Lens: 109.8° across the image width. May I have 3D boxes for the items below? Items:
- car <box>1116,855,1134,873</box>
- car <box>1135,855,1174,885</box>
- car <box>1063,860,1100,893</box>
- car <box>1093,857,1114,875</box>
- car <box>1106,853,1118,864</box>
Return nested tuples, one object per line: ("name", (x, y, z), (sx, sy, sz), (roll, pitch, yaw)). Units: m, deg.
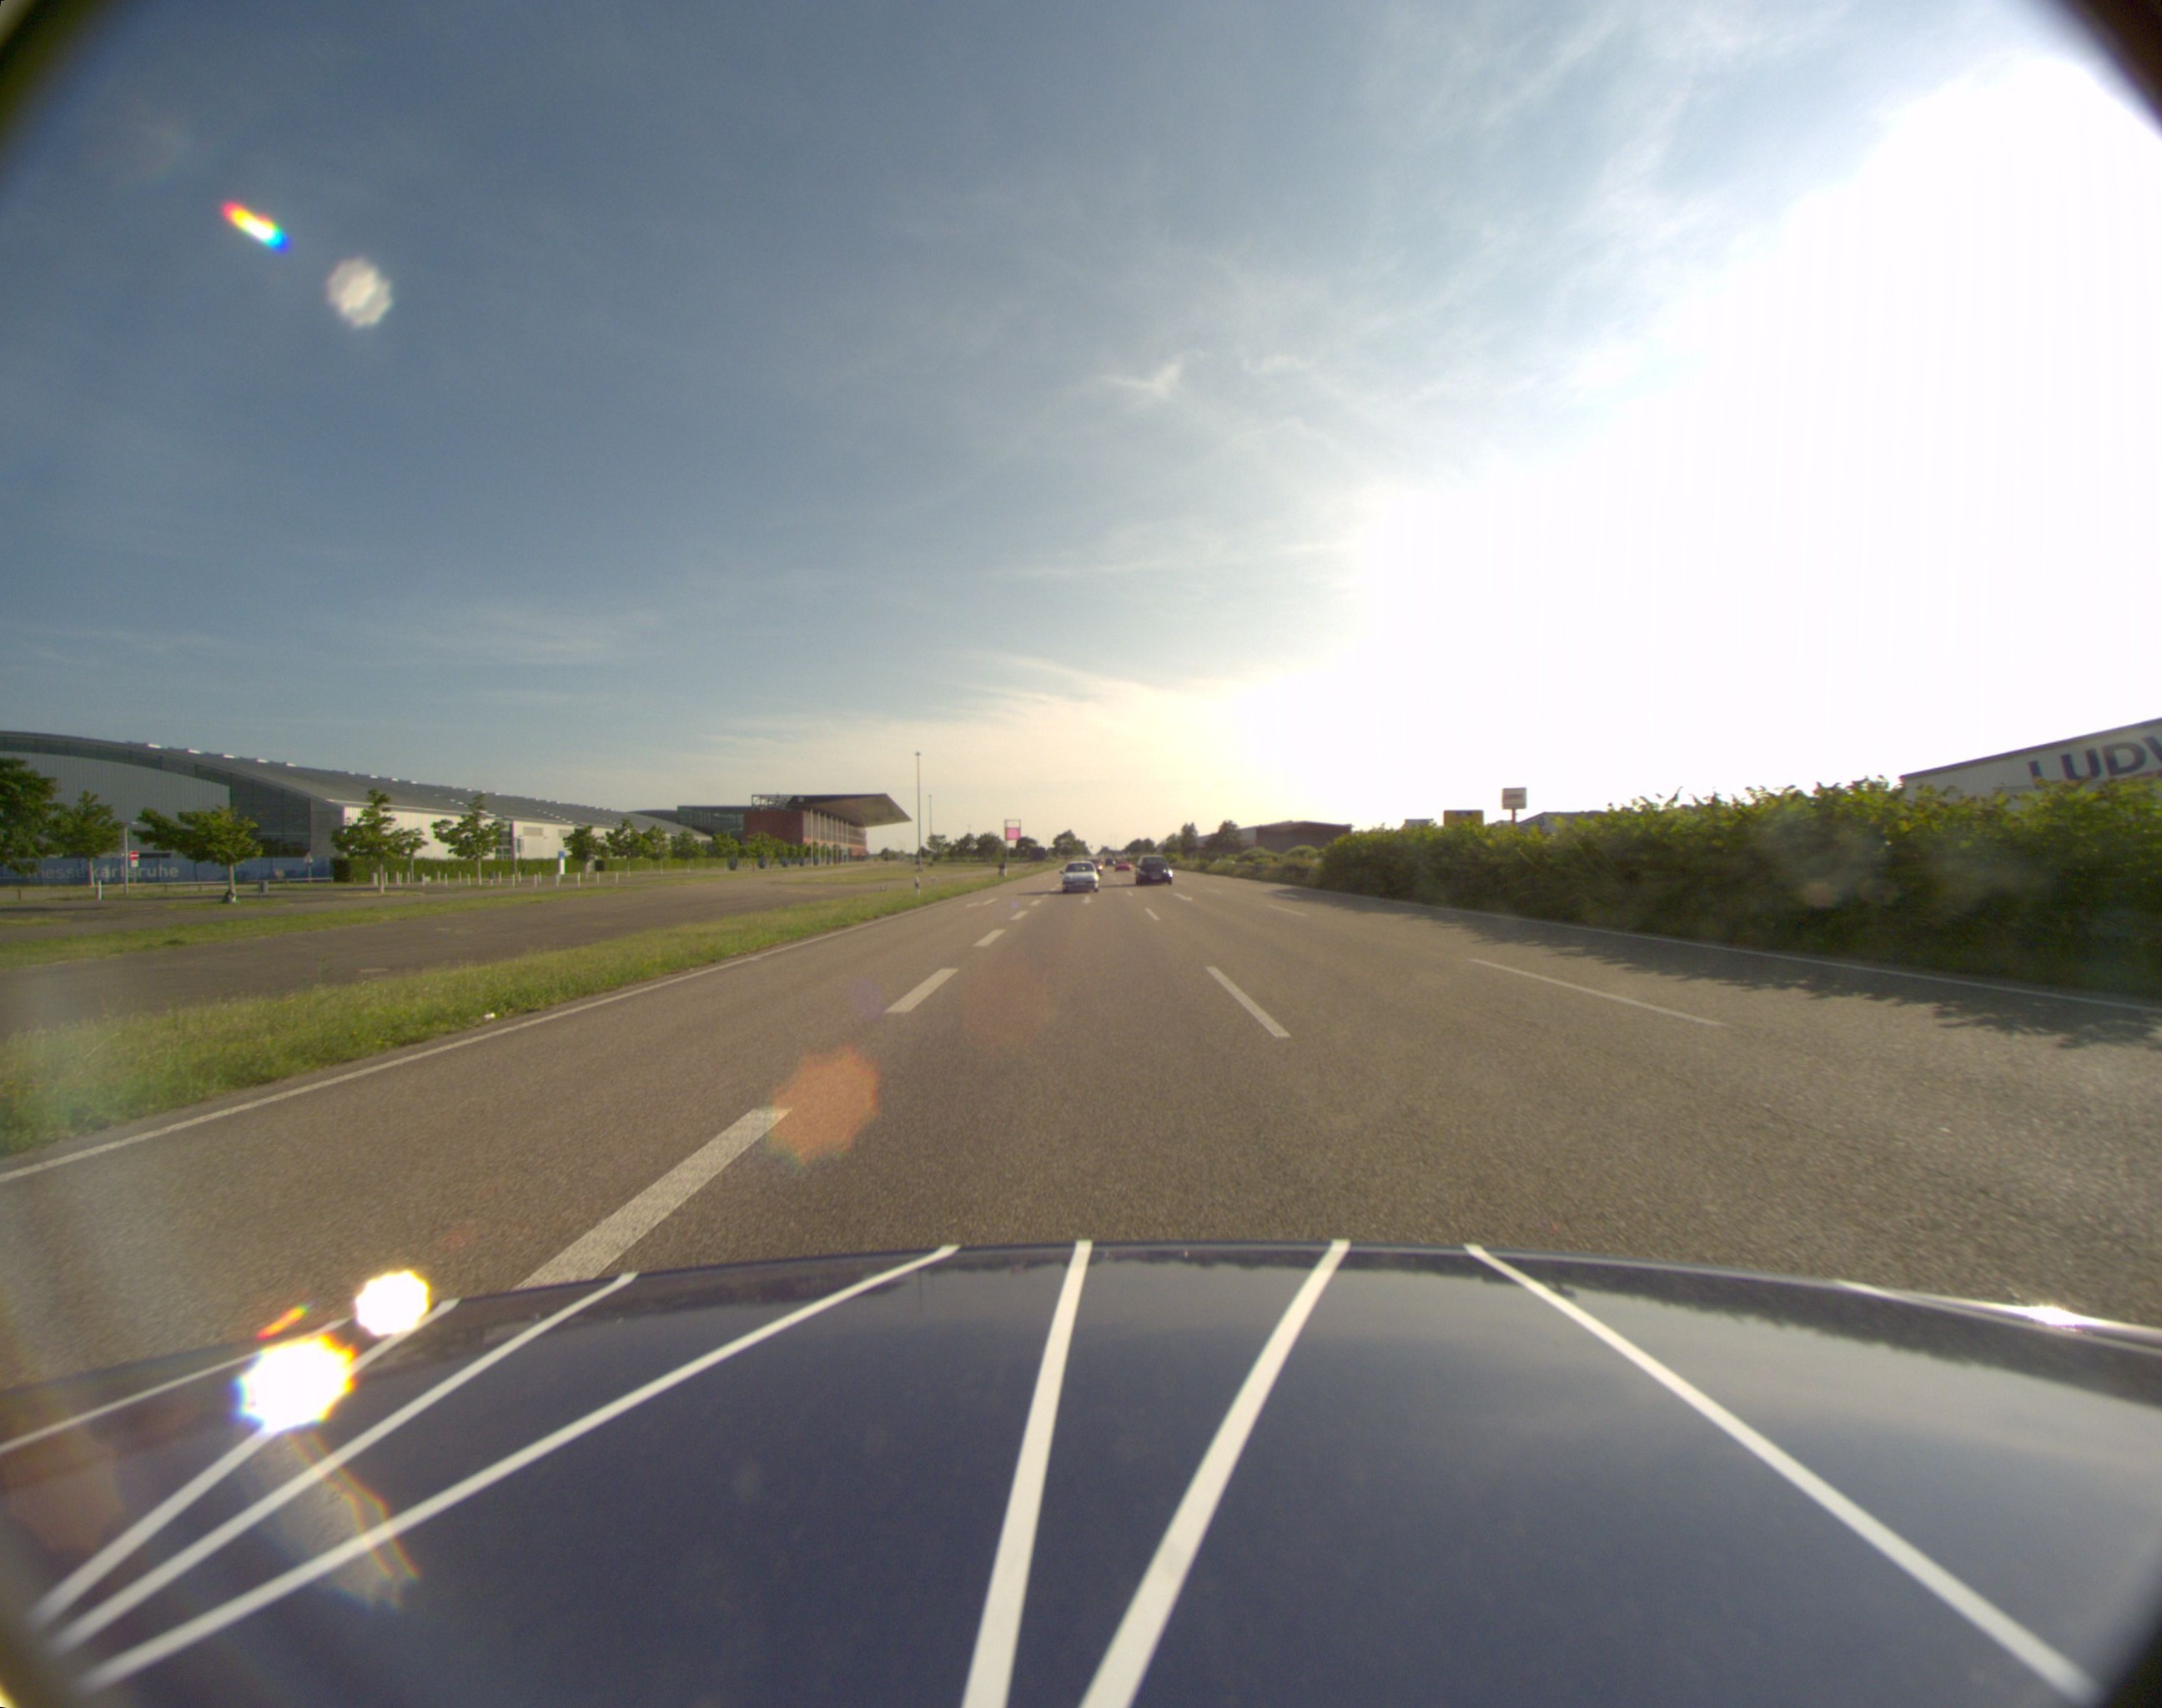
("car", (4.831, 1.079, 84.188), (1.799, 1.926, 4.000), (-1, 0, 1))
("car", (3.961, 0.842, 41.302), (1.758, 1.499, 3.422), (-1, 0, 1))
("car", (0.065, 1.002, 34.895), (1.578, 1.371, 3.452), (-2, 0, 1))
("car", (1.992, 1.027, 66.867), (1.751, 1.512, 3.739), (-2, 0, 1))
("car", (5.631, 0.818, 139.633), (1.998, 2.002, 4.000), (-1, 0, 1))
